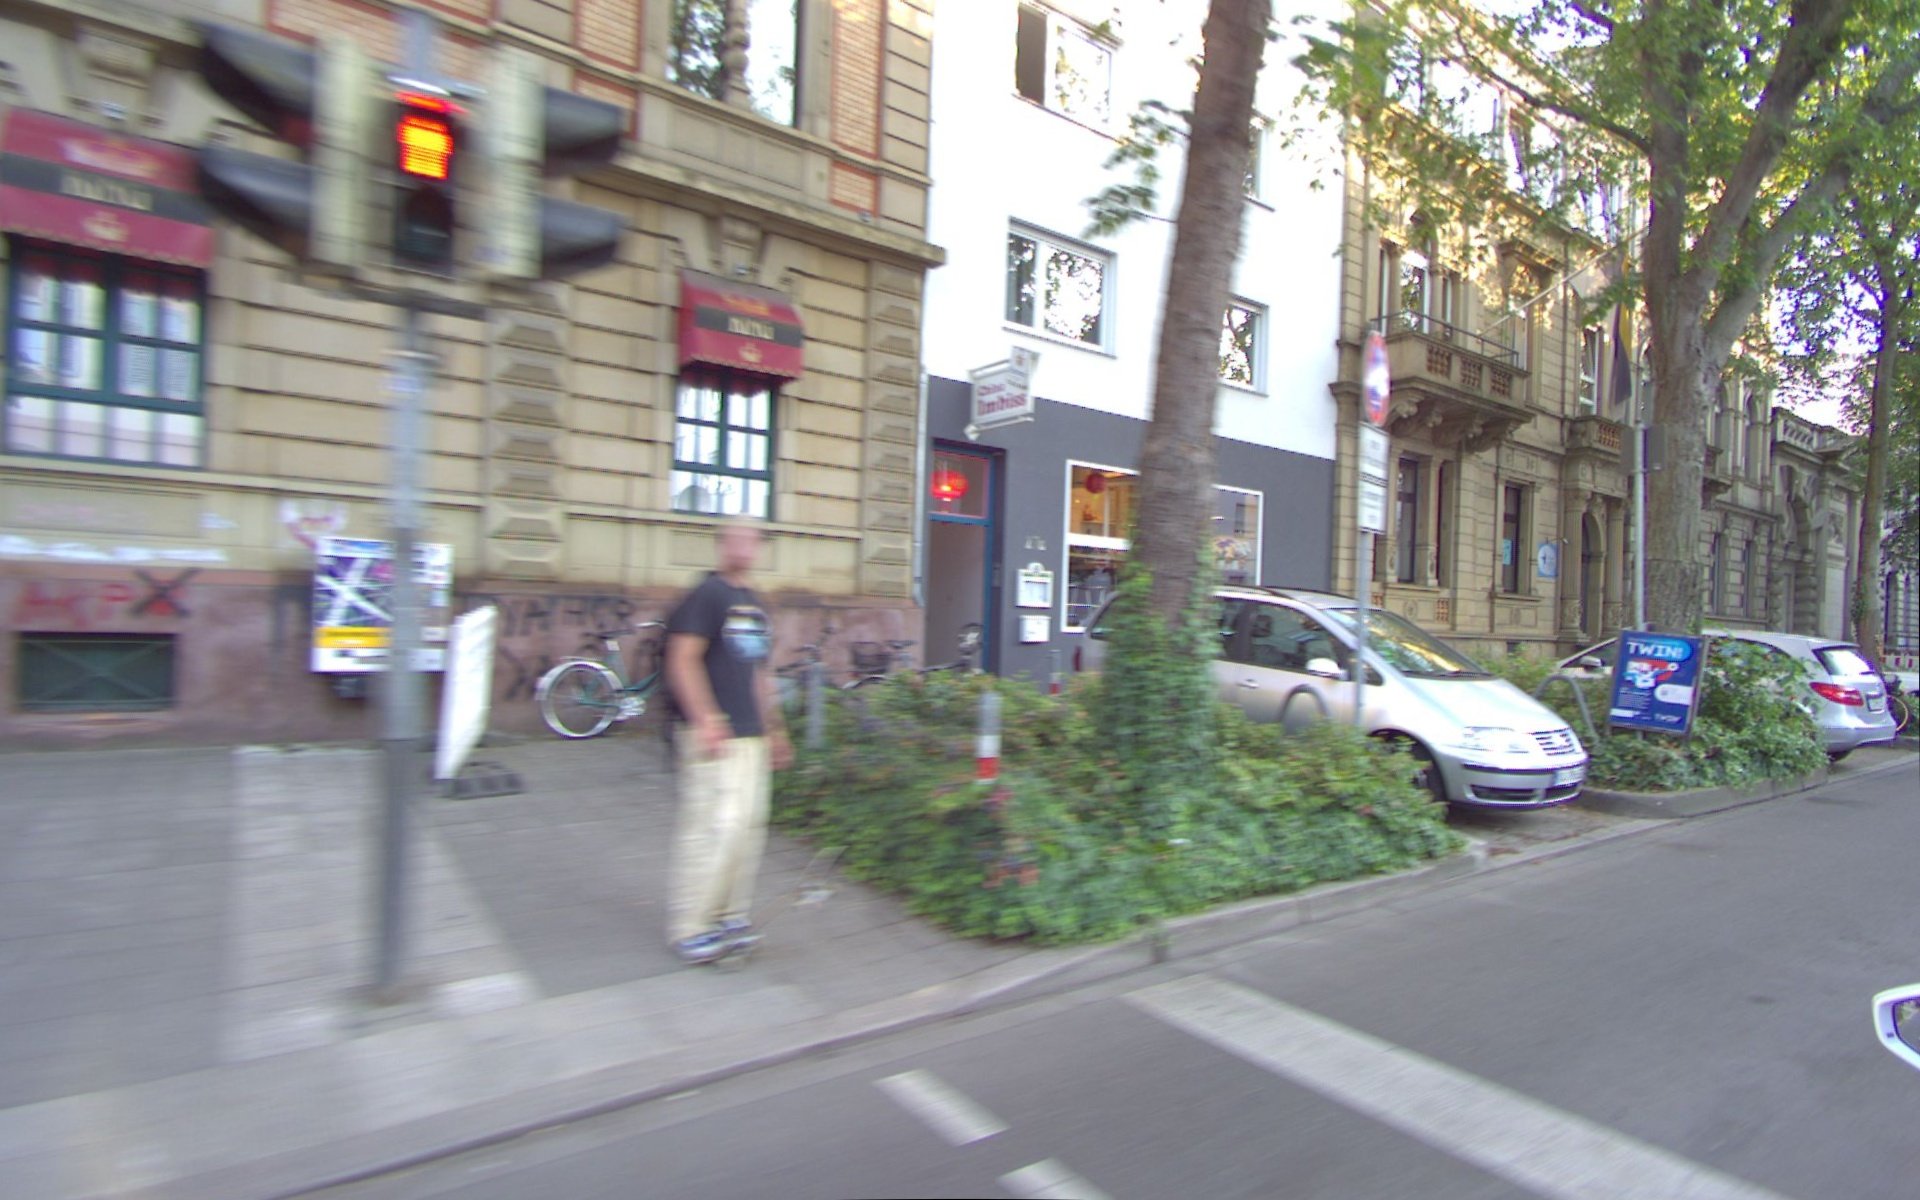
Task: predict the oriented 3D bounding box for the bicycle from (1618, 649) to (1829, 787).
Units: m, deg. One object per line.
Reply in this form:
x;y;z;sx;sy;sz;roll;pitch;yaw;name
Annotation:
8.664;1.283;11.455;0.768;1.344;1.778;2;0;-42;bicycle

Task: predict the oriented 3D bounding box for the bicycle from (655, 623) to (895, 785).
-1.414;0.777;7.902;1.784;1.122;0.495;2;2;-38;bicycle

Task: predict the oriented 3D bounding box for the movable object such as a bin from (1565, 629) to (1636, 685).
13.455;1.195;21.101;1.305;1.076;0.795;3;1;-37;movable object such as a bin

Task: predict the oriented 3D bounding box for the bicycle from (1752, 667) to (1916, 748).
13.355;1.620;15.401;0.593;1.022;1.782;3;0;-35;bicycle

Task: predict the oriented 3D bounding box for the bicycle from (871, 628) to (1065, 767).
0.106;0.846;9.100;1.784;1.122;0.495;2;2;-38;bicycle

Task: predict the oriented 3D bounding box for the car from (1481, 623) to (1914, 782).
9.312;1.180;13.043;1.807;1.578;4.145;3;-1;-33;car

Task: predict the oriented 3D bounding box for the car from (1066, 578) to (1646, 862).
3.179;0.789;8.919;1.874;1.745;4.390;3;1;-38;car

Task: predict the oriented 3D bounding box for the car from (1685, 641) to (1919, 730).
17.189;1.643;19.672;1.897;1.409;4.484;3;-1;-34;car

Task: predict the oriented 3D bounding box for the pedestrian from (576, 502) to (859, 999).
-0.968;0.533;4.129;0.815;1.801;0.766;3;2;18;pedestrian

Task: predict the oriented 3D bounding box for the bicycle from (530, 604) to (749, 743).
-2.855;0.641;9.069;1.784;1.122;0.495;2;2;-38;bicycle
